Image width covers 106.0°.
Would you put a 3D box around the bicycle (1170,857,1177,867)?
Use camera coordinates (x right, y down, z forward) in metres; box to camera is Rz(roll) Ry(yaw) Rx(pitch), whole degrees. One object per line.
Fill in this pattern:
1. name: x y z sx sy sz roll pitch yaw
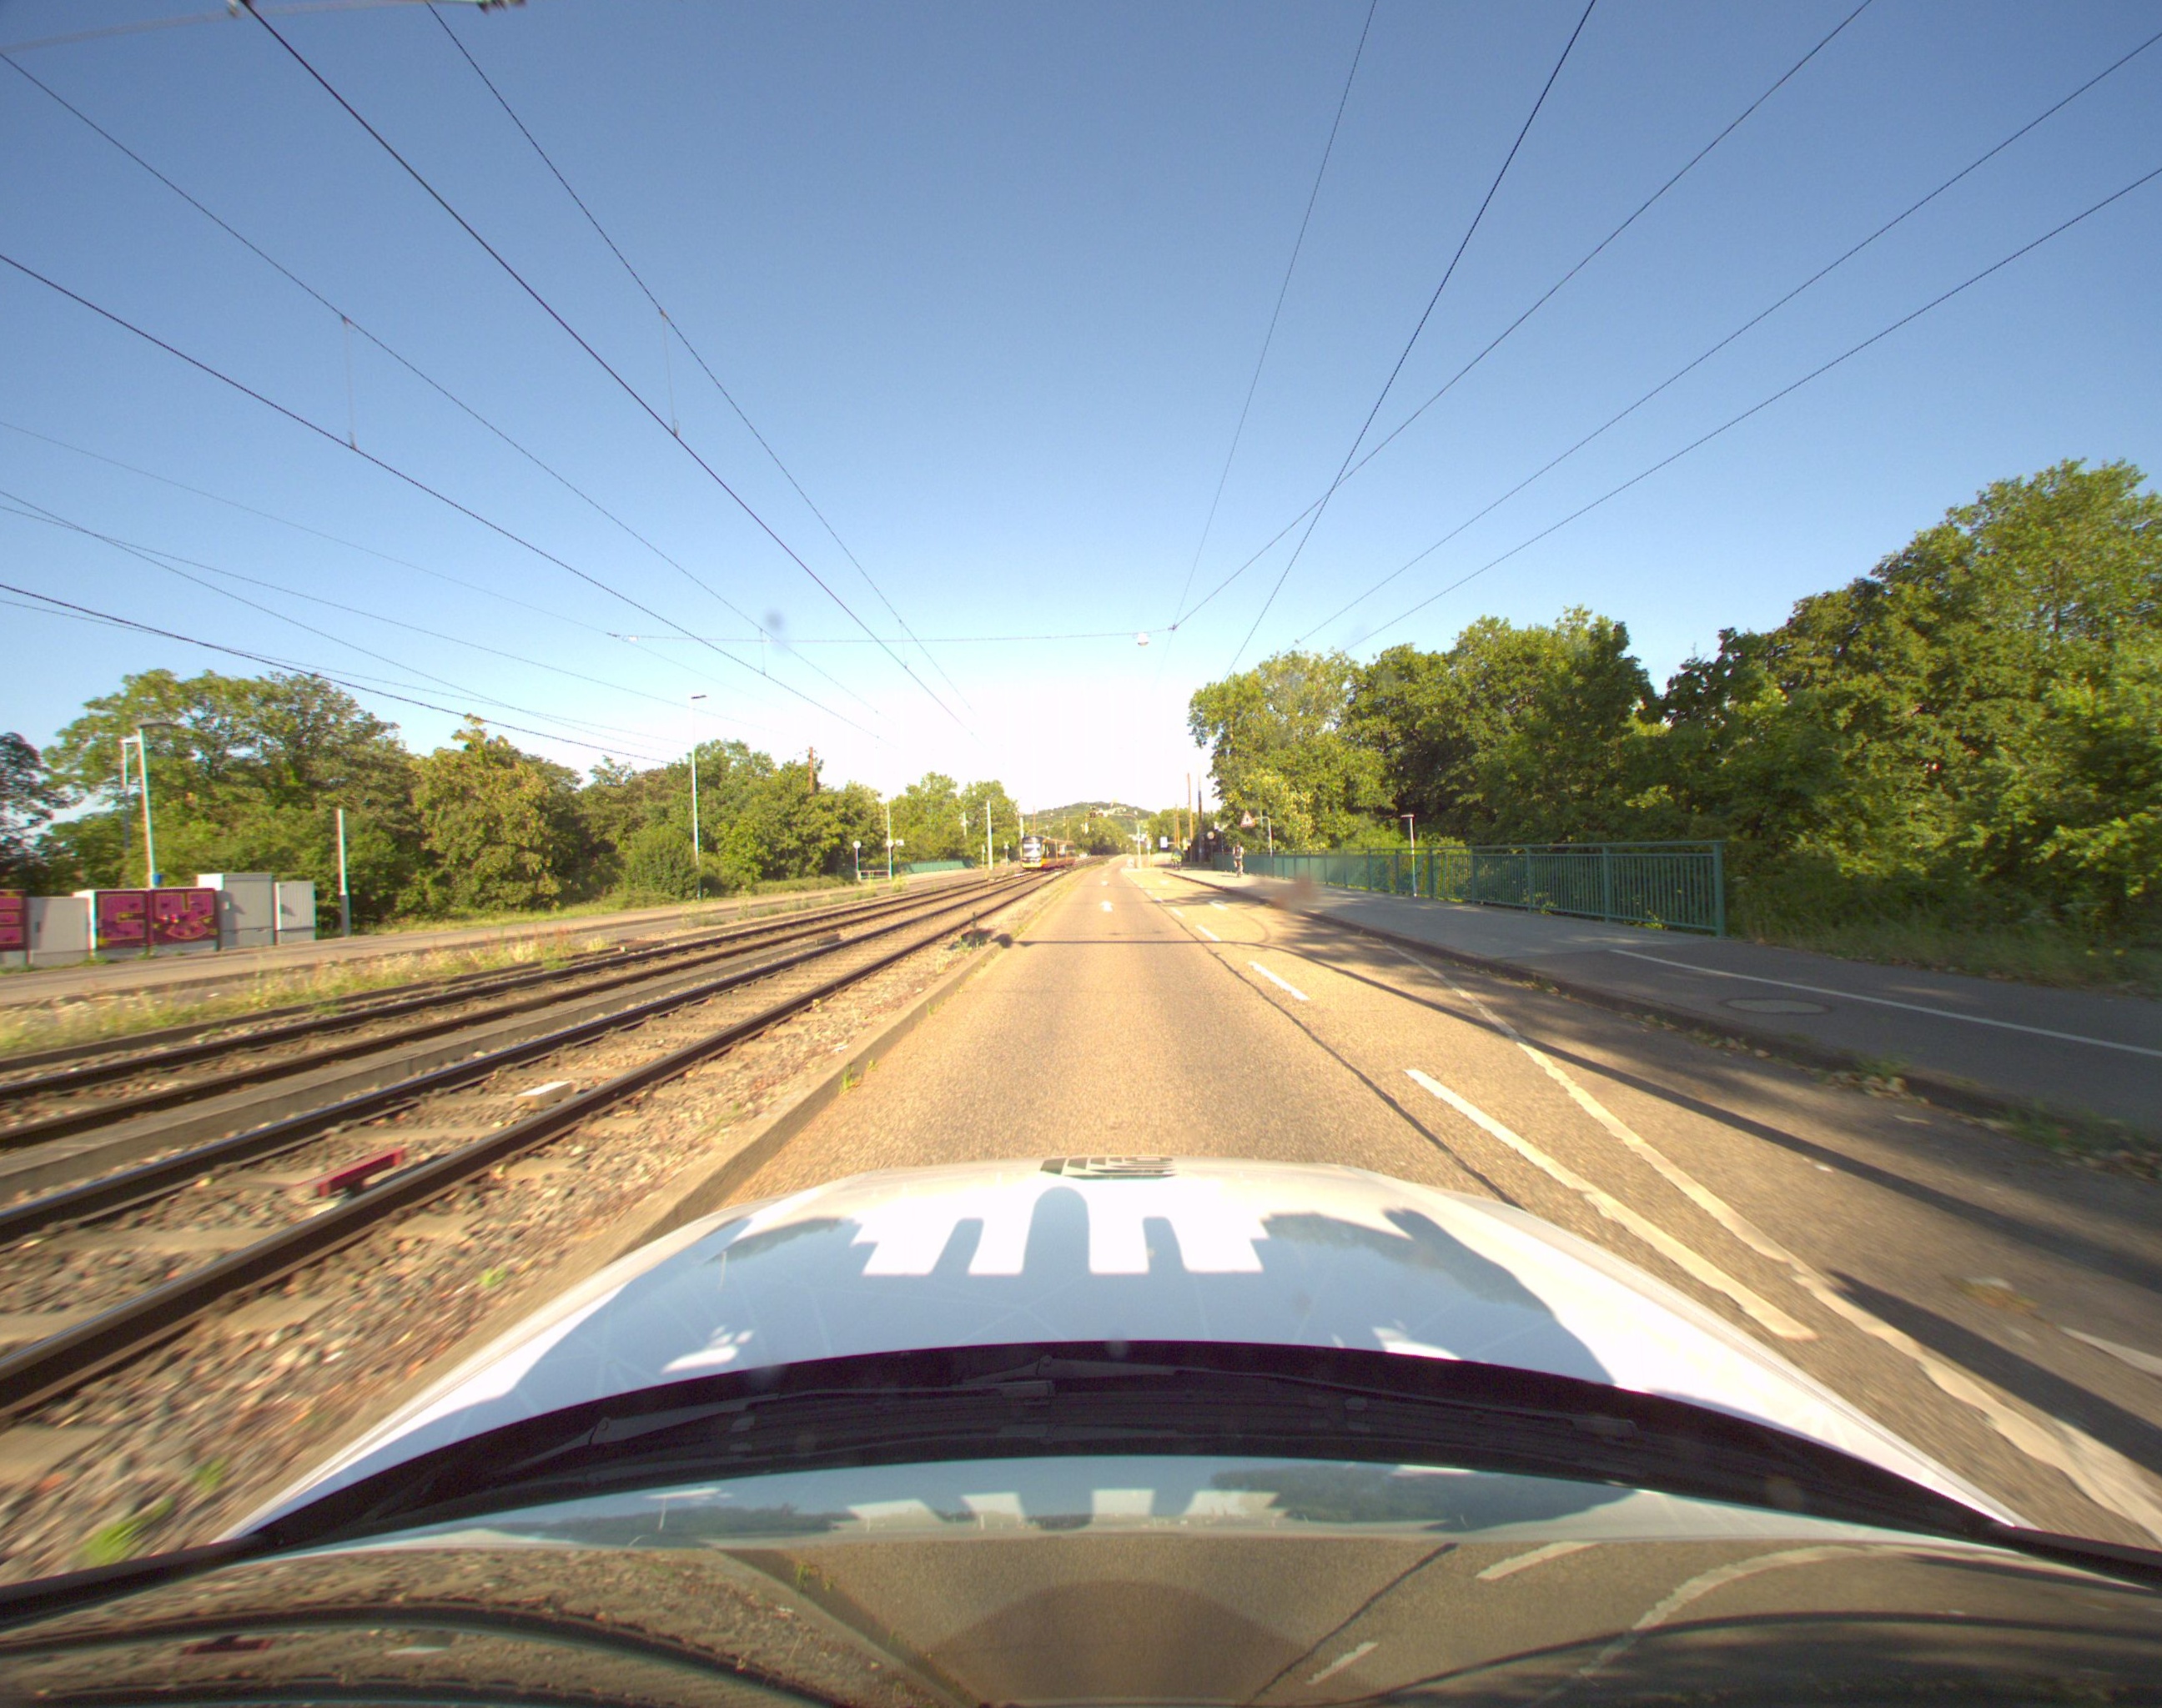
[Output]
1. bicycle: 9.483 0.827 83.357 0.537 1.042 1.976 -2 0 2

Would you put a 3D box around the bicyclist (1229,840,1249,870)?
1. bicyclist: 8.263 0.042 42.611 0.821 1.520 0.975 -2 0 1

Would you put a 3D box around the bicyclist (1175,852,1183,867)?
1. bicyclist: 9.059 0.490 75.162 0.602 1.379 0.975 -2 0 1

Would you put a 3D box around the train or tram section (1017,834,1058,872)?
1. train or tram section: -4.358 -0.103 84.581 2.631 3.567 10.848 -2 0 5

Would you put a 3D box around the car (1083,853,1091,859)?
1. car: 1.609 0.589 212.791 1.943 1.486 4.001 -2 0 2

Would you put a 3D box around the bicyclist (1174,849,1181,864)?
1. bicyclist: 9.496 0.238 80.049 0.602 1.379 0.975 -2 0 1

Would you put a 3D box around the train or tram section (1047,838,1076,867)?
1. train or tram section: -2.419 -0.166 105.251 2.631 3.472 8.907 -2 0 5

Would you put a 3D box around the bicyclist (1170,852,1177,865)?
1. bicyclist: 9.474 0.460 83.358 0.602 1.379 0.975 -2 0 1

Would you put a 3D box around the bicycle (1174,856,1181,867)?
1. bicycle: 9.512 0.704 80.140 0.537 1.042 1.976 -2 0 2

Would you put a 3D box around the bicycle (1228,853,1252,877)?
1. bicycle: 8.292 0.571 42.569 0.725 1.176 2.696 -2 0 2

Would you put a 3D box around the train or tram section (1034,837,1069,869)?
1. train or tram section: -3.334 -0.106 95.434 2.631 3.476 10.848 -2 0 5

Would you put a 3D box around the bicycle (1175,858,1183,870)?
1. bicycle: 9.059 0.911 75.155 0.513 1.042 1.976 -2 0 2
